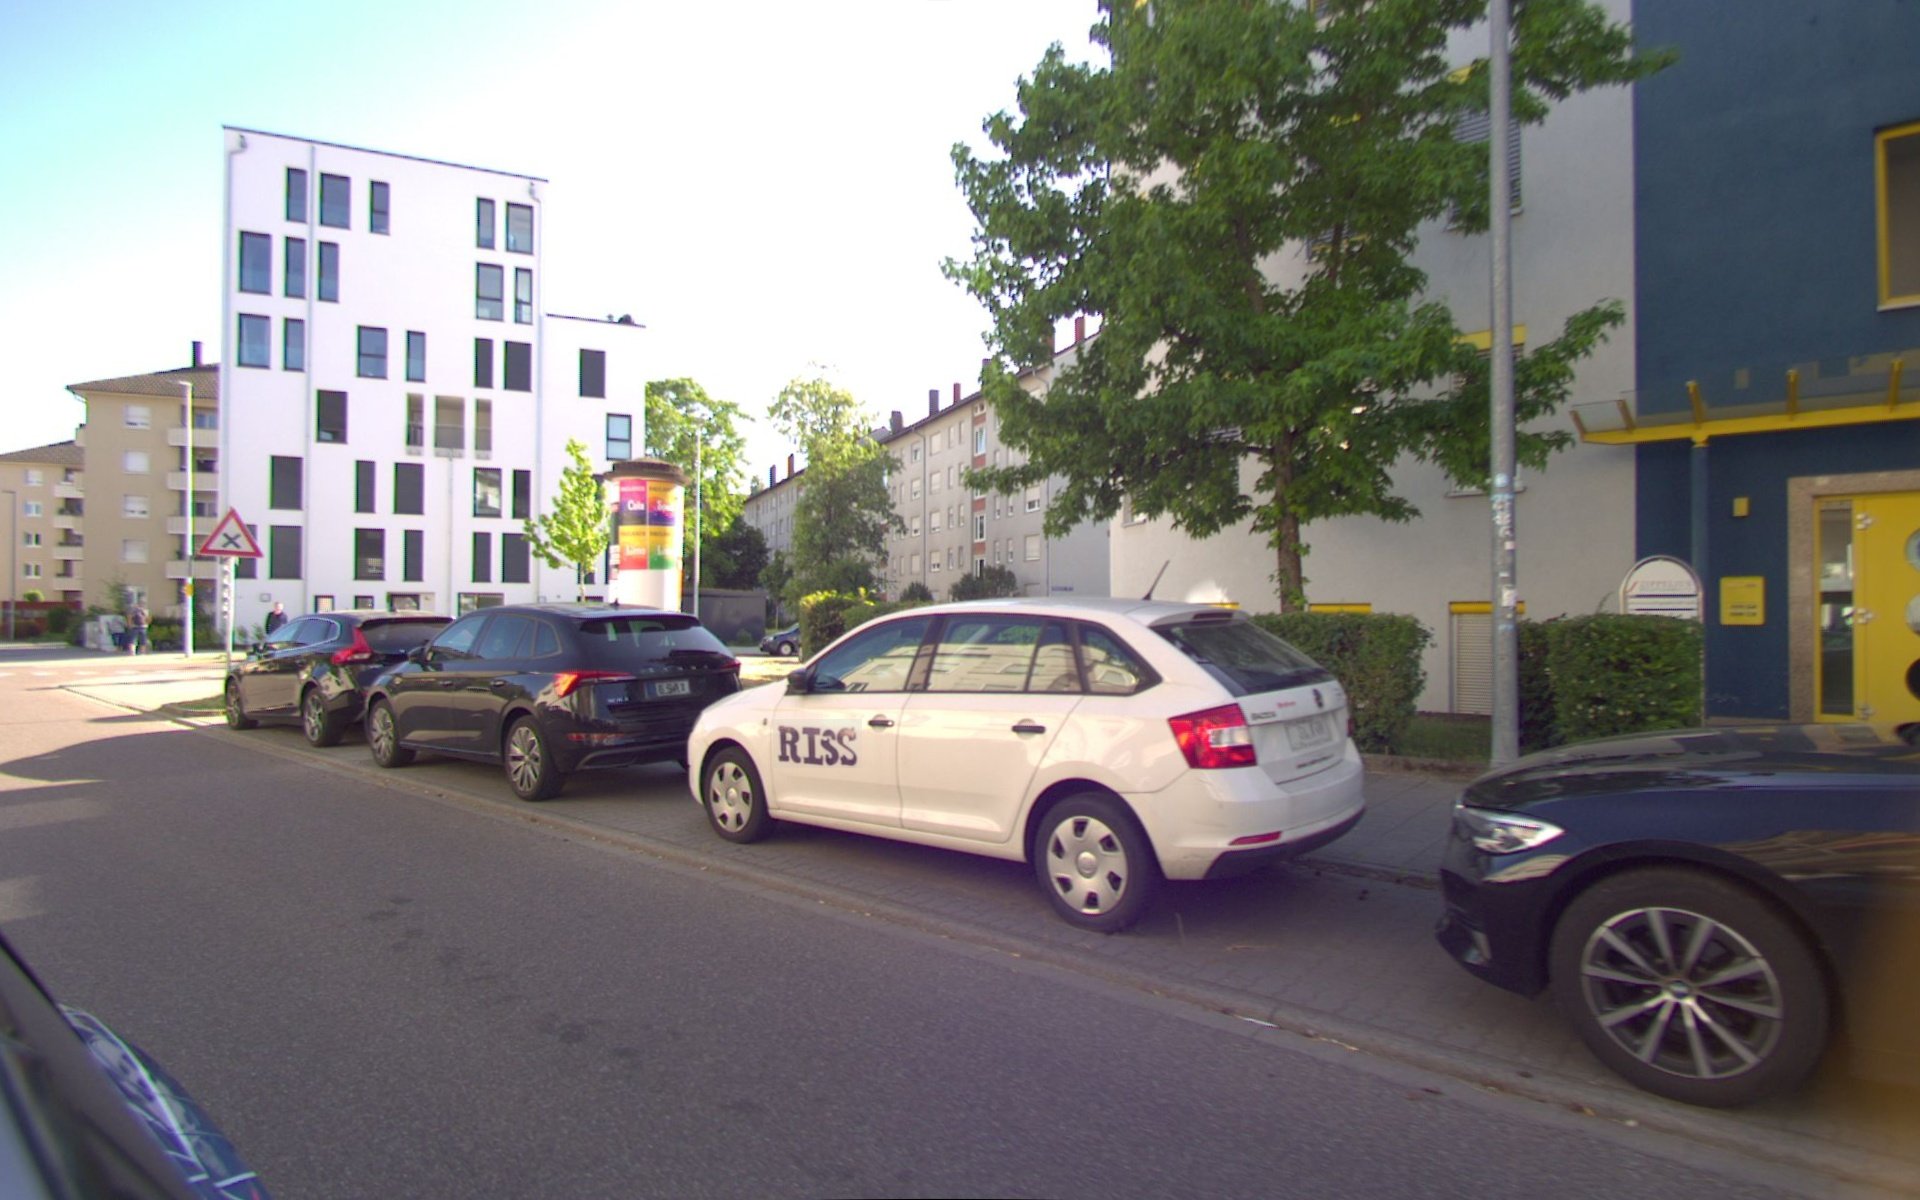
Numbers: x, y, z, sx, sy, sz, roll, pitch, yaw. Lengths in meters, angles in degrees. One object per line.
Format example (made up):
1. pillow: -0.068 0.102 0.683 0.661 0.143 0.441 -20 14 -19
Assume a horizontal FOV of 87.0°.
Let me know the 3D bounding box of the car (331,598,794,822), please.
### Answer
1. car: -3.639 0.764 8.893 4.376 1.490 1.889 0 -1 39

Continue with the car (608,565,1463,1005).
1. car: 0.126 0.678 5.762 4.620 1.541 1.889 0 -1 39

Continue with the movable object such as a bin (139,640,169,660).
1. movable object such as a bin: -27.916 1.733 35.055 0.839 0.685 0.272 1 -1 7

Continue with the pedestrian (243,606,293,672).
1. pedestrian: -18.380 1.032 26.889 0.962 1.727 0.876 1 -2 -28

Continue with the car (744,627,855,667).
1. car: -6.233 1.835 39.363 3.930 1.431 1.678 2 0 -26

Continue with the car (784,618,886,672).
1. car: -3.829 1.303 30.390 1.699 1.503 4.115 2 -1 -27

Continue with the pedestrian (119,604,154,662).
1. pedestrian: -27.482 1.096 33.775 0.778 1.899 0.849 2 0 -34

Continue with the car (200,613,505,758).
1. car: -7.273 0.884 11.961 4.219 1.421 1.771 -1 -1 39

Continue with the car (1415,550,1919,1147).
1. car: 3.742 0.599 2.341 4.610 1.450 1.714 -1 -2 42

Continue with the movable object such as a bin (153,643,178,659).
1. movable object such as a bin: -28.815 1.848 36.703 0.676 0.546 0.272 1 -1 -3

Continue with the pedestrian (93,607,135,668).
1. pedestrian: -29.854 1.309 35.723 0.951 2.137 0.770 -1 -1 20
